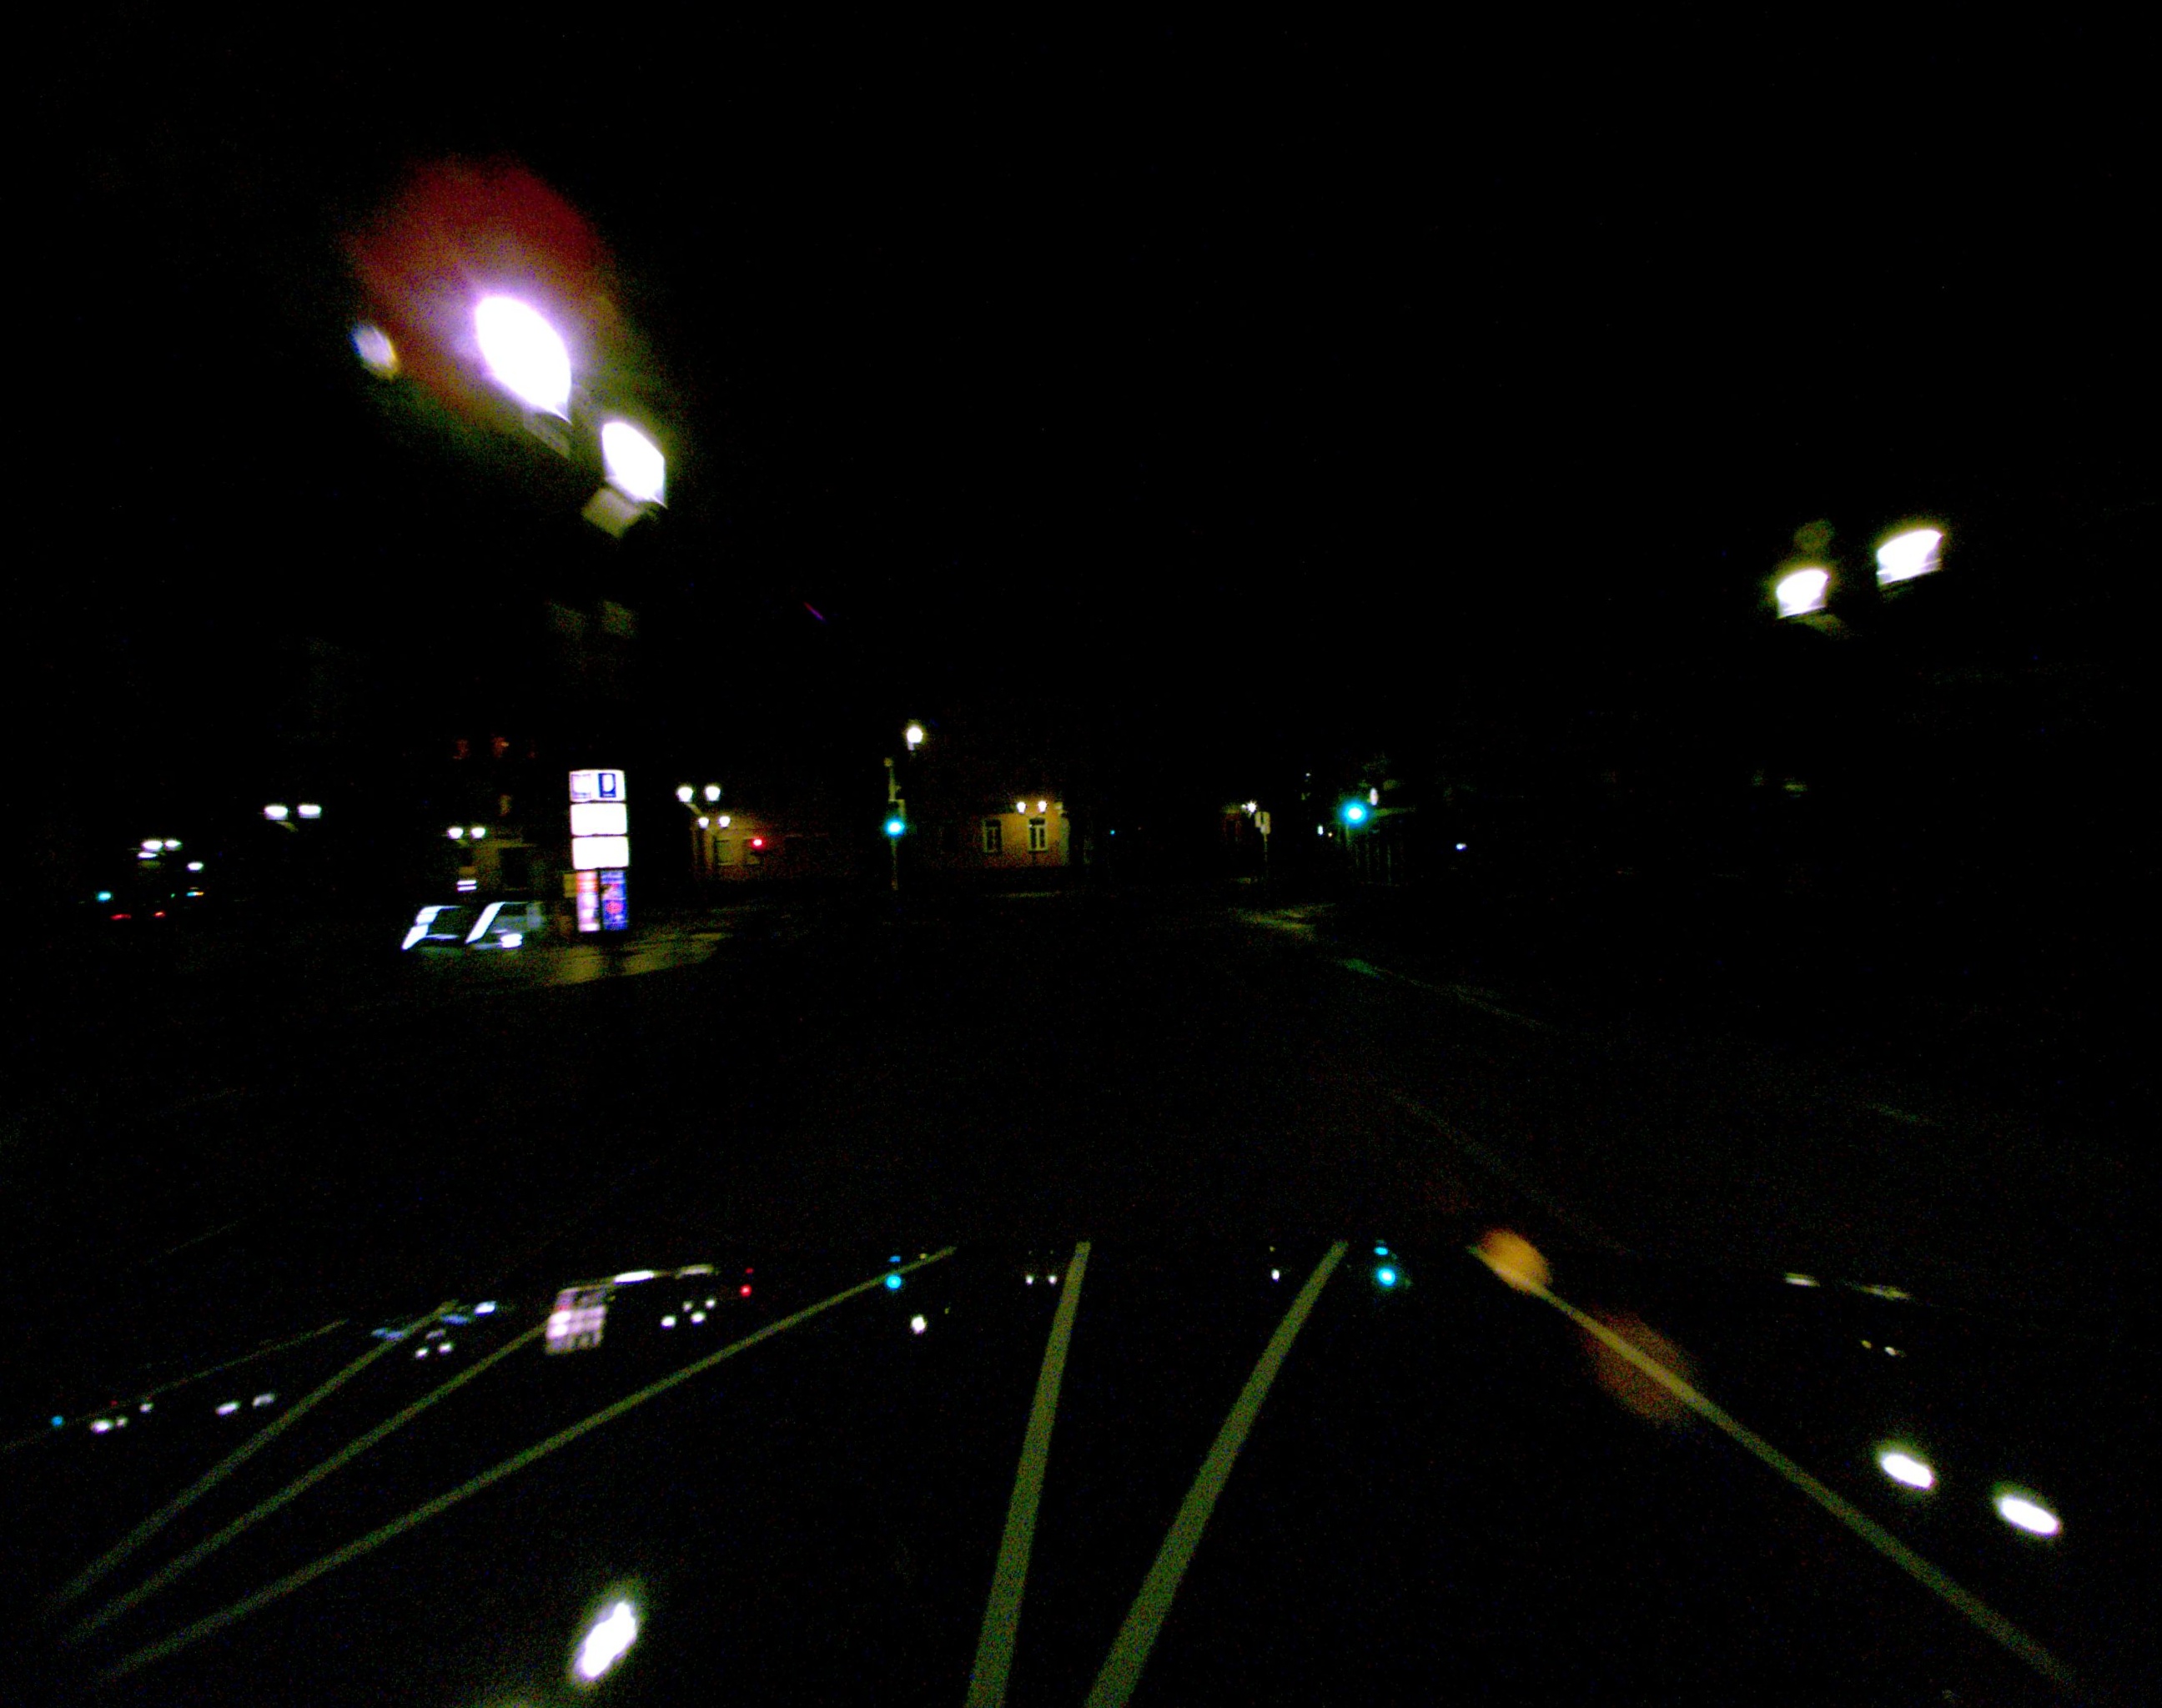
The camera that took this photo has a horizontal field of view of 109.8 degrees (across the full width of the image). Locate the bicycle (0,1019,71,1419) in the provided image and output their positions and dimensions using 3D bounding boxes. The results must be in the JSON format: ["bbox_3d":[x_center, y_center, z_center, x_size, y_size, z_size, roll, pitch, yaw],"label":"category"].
[{"bbox_3d":[-4.084,1.129,2.034,1.777,1.144,0.614,-3,0,-4],"label":"bicycle"}]

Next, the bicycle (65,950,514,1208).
[{"bbox_3d":[-4.131,1.154,4.040,1.776,1.144,0.582,-2,0,2],"label":"bicycle"}]

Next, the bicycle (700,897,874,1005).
[{"bbox_3d":[-3.486,1.144,9.131,1.793,1.128,0.629,-3,0,-4],"label":"bicycle"}]

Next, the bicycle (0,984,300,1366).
[{"bbox_3d":[-4.090,1.138,2.756,1.777,1.144,0.582,-3,0,-4],"label":"bicycle"}]

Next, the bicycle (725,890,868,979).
[{"bbox_3d":[-4.102,1.147,11.043,1.774,1.134,0.687,-3,0,-3],"label":"bicycle"}]

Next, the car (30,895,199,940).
[{"bbox_3d":[-41.711,2.714,32.908,4.244,1.575,1.739,-3,0,-16],"label":"car"}]

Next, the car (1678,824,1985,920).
[{"bbox_3d":[13.955,0.326,14.308,3.997,1.517,1.819,-3,0,-1],"label":"car"}]

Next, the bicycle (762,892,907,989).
[{"bbox_3d":[-3.201,1.117,9.973,1.659,1.128,0.642,-3,0,-3],"label":"bicycle"}]

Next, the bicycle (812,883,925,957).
[{"bbox_3d":[-3.617,1.116,13.058,1.659,1.134,0.827,-3,0,-3],"label":"bicycle"}]

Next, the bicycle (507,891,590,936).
[{"bbox_3d":[-15.386,1.691,21.982,0.648,1.121,1.806,-2,0,37],"label":"bicycle"}]

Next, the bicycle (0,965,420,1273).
[{"bbox_3d":[-4.120,1.146,3.416,1.776,1.144,0.582,-2,0,3],"label":"bicycle"}]

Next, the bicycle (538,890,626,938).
[{"bbox_3d":[-13.379,1.591,20.420,0.648,1.121,1.806,-2,0,37],"label":"bicycle"}]

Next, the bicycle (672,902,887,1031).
[{"bbox_3d":[-3.047,1.121,7.834,1.870,1.128,0.725,-3,0,-4],"label":"bicycle"}]
